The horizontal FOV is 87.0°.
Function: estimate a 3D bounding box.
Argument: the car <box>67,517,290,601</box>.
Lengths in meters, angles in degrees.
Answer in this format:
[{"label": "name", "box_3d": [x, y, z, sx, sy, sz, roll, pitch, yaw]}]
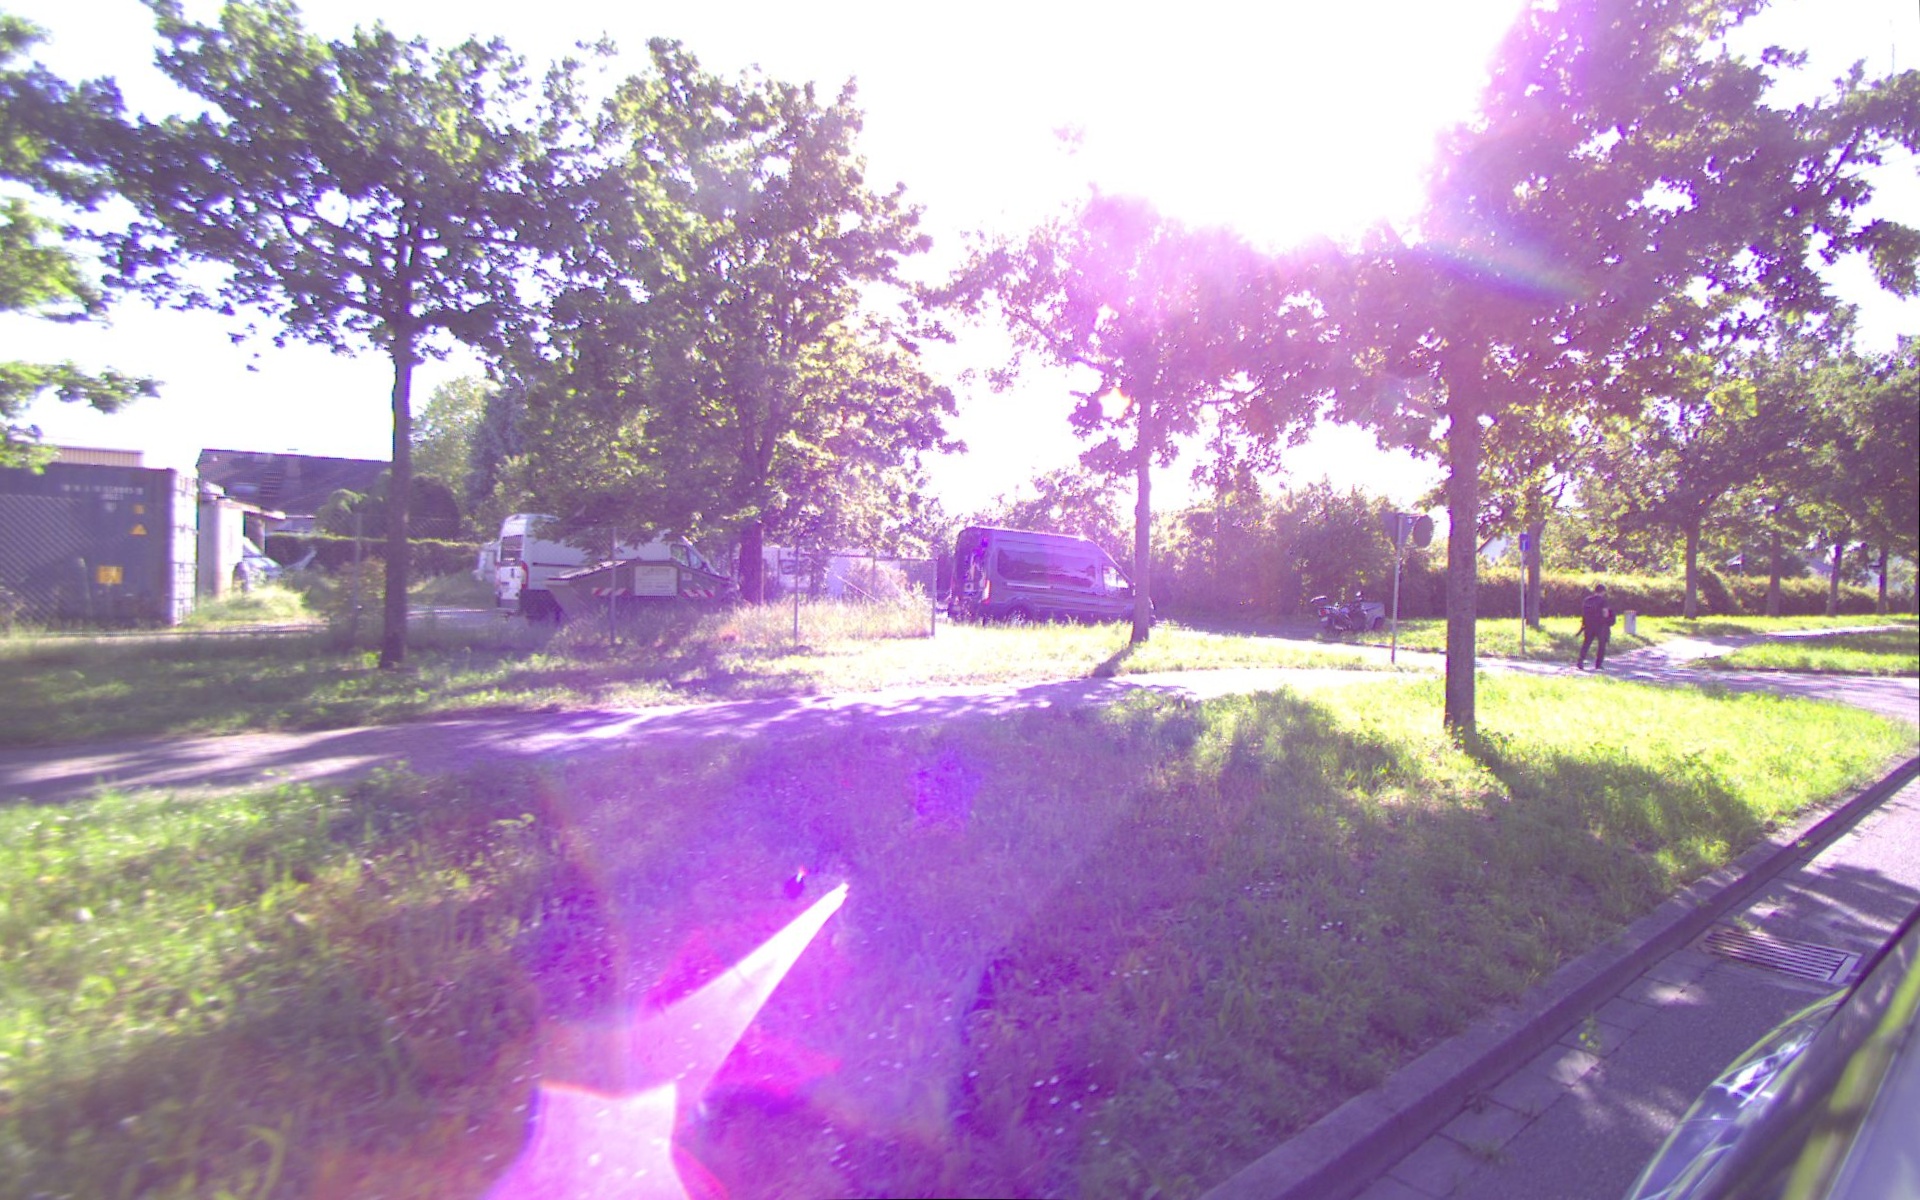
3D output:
[{"label": "car", "box_3d": [-23.216, -1.162, 30.376, 4.910, 2.088, 2.094, 4, -1, -28]}]

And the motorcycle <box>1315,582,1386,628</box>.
[{"label": "motorcycle", "box_3d": [12.098, 0.144, 31.356, 2.359, 1.246, 0.666, -4, 4, -29]}]

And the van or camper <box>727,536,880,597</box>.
[{"label": "van or camper", "box_3d": [-7.246, -1.516, 47.025, 6.640, 2.606, 2.191, 0, 2, -28]}]

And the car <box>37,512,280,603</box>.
[{"label": "car", "box_3d": [-22.079, -1.103, 28.207, 4.910, 2.088, 2.094, 4, -1, -28]}]

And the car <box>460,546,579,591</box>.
[{"label": "car", "box_3d": [-16.963, -1.198, 39.010, 3.922, 1.612, 2.002, 0, 2, -33]}]

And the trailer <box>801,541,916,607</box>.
[{"label": "trailer", "box_3d": [-3.840, -0.971, 38.086, 3.712, 2.336, 2.200, 0, 2, -28]}]

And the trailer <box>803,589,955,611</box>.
[{"label": "trailer", "box_3d": [-2.799, 0.001, 34.956, 4.724, 0.659, 2.239, 0, 2, -28]}]

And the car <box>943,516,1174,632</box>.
[{"label": "car", "box_3d": [2.688, -0.593, 26.936, 5.849, 2.599, 2.094, 4, -2, -28]}]

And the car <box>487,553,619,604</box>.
[{"label": "car", "box_3d": [-14.003, -0.735, 34.843, 3.922, 1.612, 2.002, 0, 2, -33]}]

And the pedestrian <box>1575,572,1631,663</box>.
[{"label": "pedestrian", "box_3d": [13.336, 0.344, 20.986, 0.852, 1.834, 0.727, 0, 2, -41]}]

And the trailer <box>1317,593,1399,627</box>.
[{"label": "trailer", "box_3d": [13.055, 0.305, 33.201, 2.013, 0.878, 1.586, -4, 4, -28]}]

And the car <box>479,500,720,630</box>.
[{"label": "car", "box_3d": [-8.223, -0.767, 23.336, 4.765, 2.676, 2.165, 0, 2, -40]}]

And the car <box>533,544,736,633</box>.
[{"label": "car", "box_3d": [-6.764, -0.261, 21.117, 3.533, 1.685, 2.010, 0, 2, -40]}]
